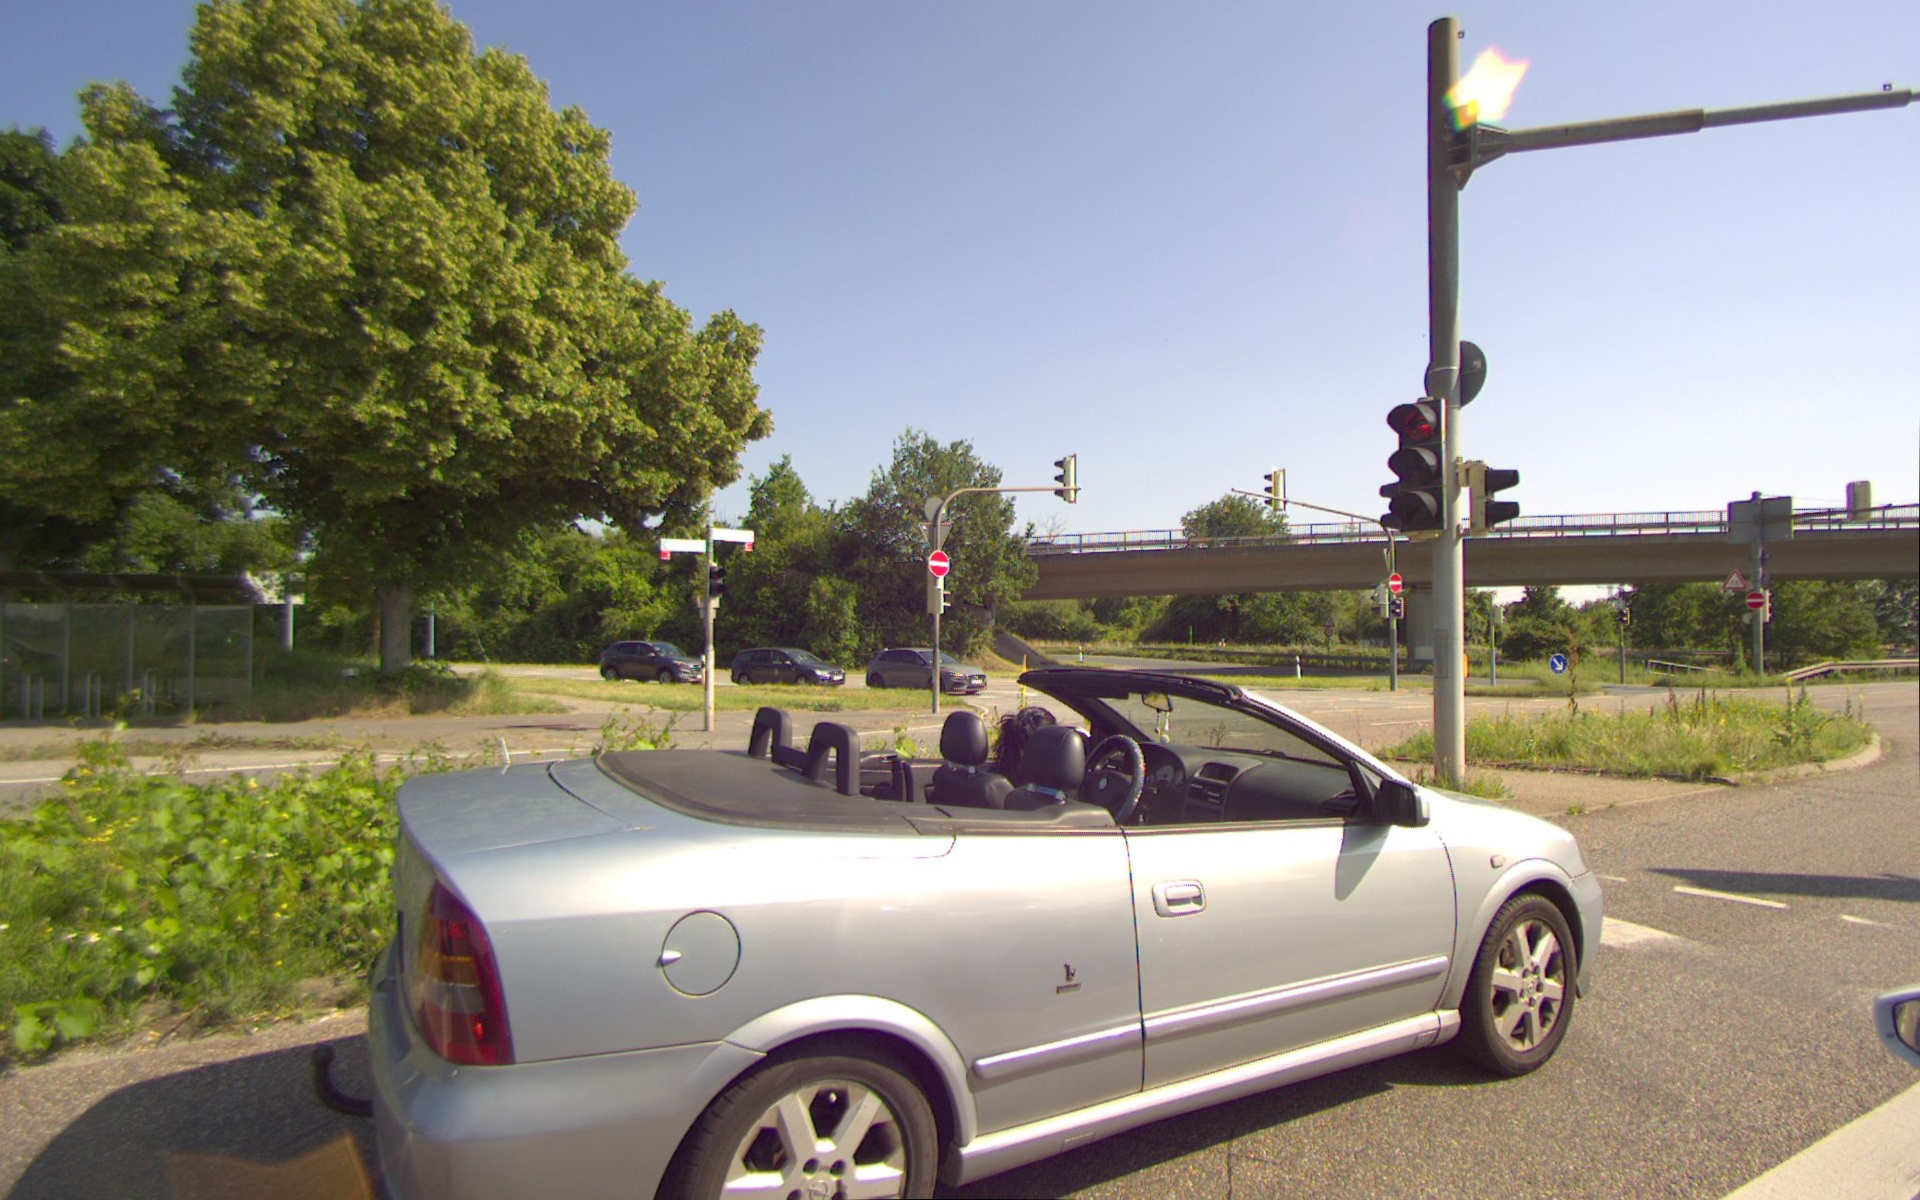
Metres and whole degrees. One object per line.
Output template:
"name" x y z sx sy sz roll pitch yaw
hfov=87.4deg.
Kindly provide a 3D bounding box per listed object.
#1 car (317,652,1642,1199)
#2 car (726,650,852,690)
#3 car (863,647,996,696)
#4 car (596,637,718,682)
"car" 0.313 0.867 3.361 4.049 1.352 1.666 1 -3 -30
"car" -5.994 2.411 35.150 4.276 1.297 1.648 -1 -2 30
"car" -1.013 2.231 31.942 4.066 1.443 1.862 -2 -3 41
"car" -11.343 2.208 37.631 4.270 1.616 1.651 -1 -2 22
